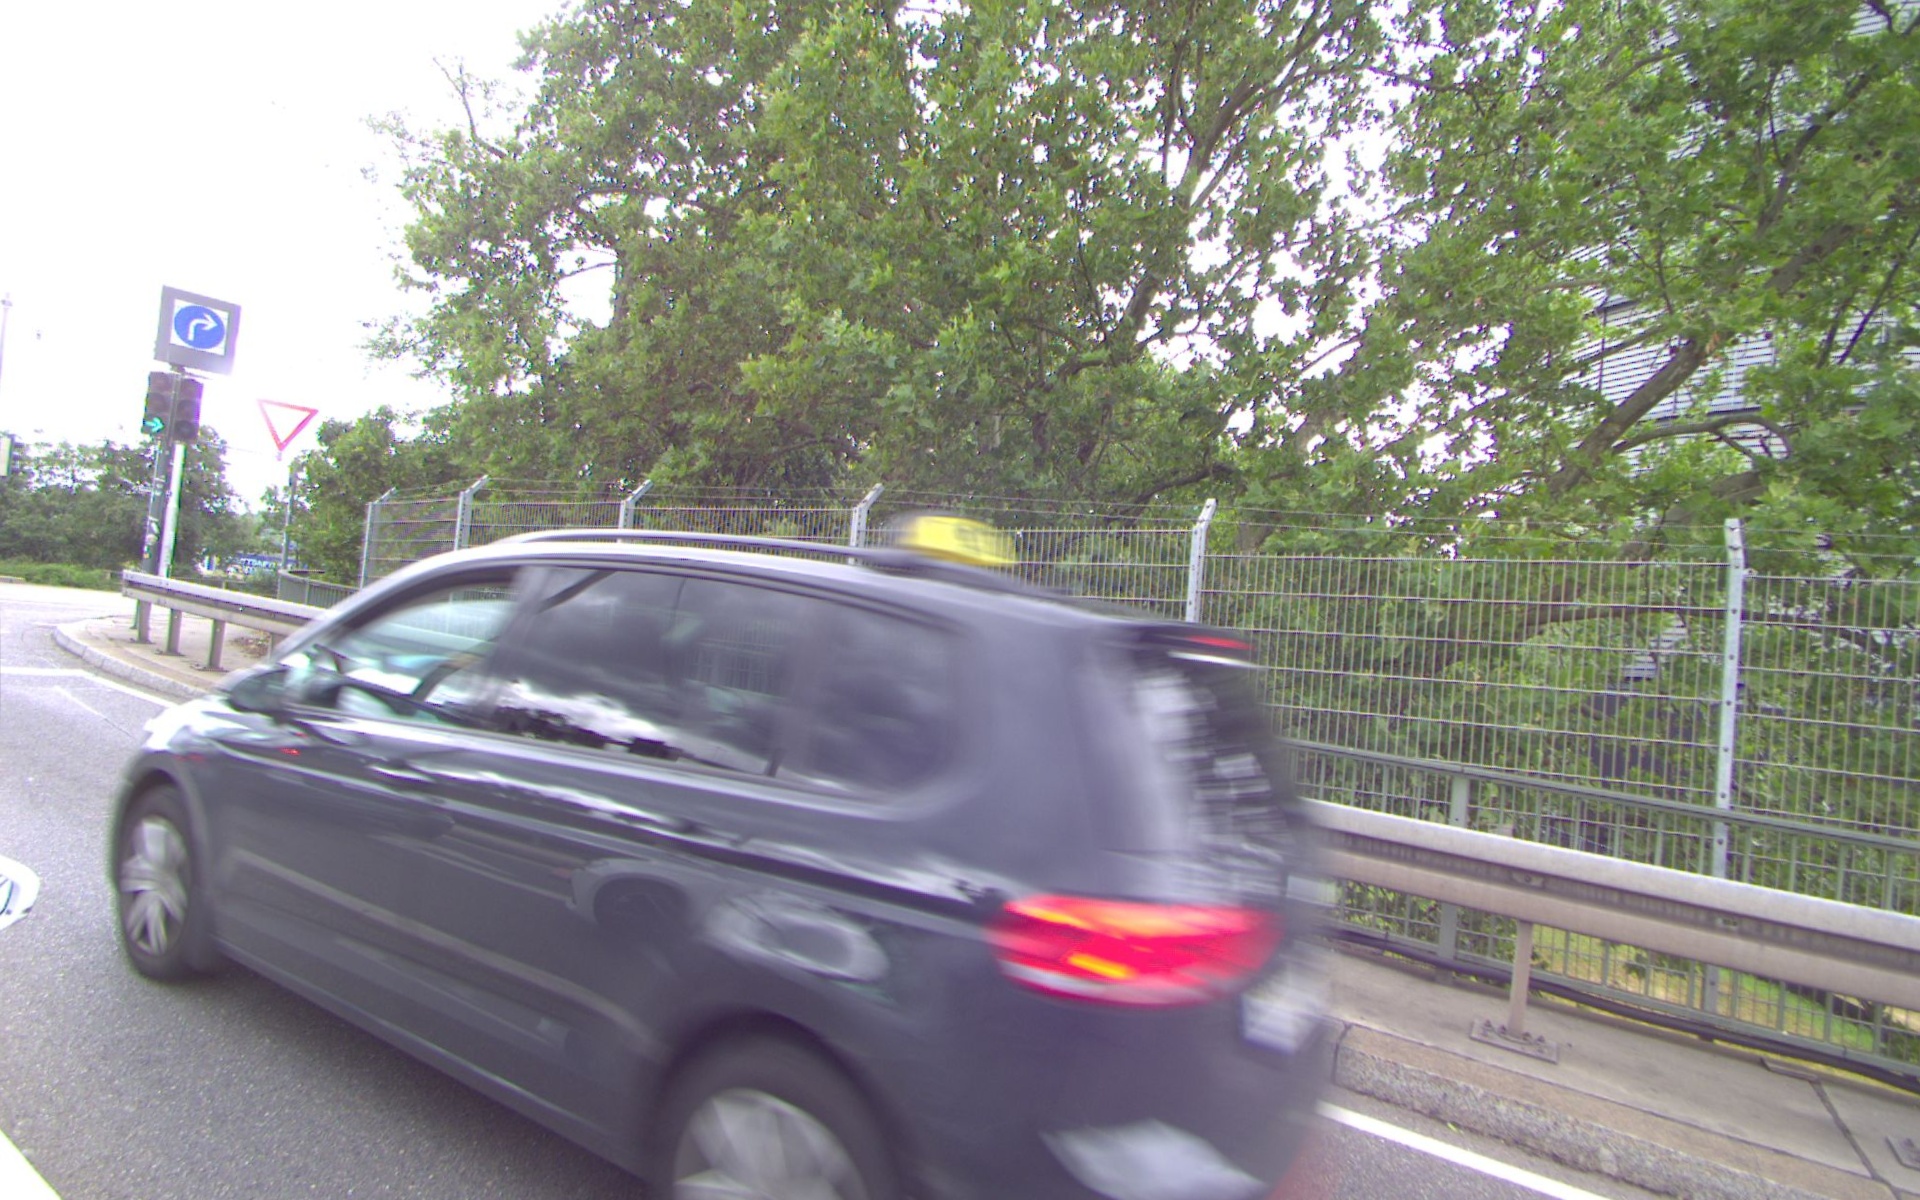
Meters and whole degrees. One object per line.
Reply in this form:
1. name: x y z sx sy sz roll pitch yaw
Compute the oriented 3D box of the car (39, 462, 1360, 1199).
1. car: -1.044 0.608 3.384 4.081 1.672 1.800 6 -2 31
